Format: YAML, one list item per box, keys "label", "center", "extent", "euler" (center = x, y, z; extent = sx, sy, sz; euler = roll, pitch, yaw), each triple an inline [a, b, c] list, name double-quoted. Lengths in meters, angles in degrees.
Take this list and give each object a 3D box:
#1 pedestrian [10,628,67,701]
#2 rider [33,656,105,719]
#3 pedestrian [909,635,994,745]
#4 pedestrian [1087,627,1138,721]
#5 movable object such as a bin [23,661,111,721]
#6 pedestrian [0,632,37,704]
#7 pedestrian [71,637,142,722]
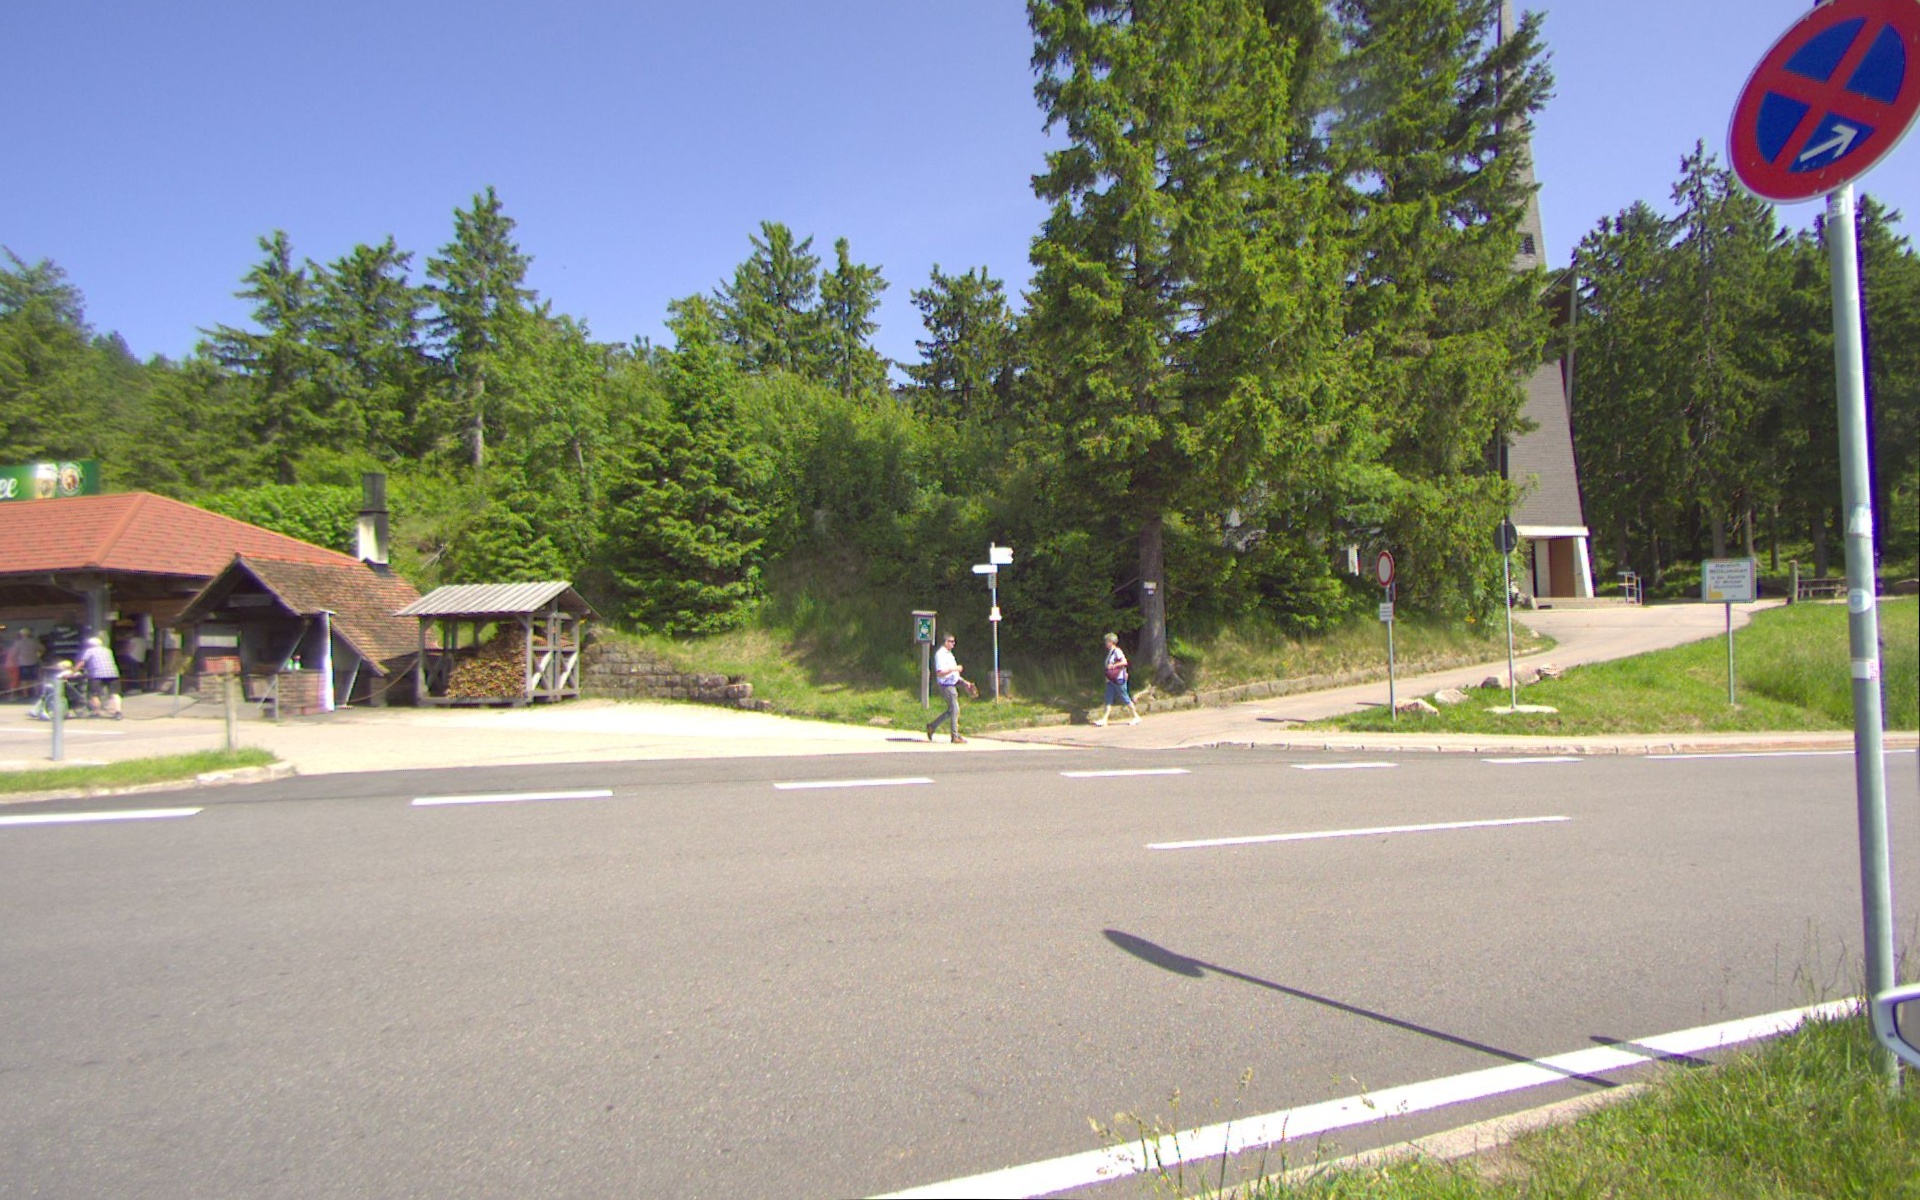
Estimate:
- label: "pedestrian"
  center: [-22.619, 1.567, 24.650]
  extent: [0.788, 1.759, 0.748]
  euler: [-1, -3, 27]
- label: "rider"
  center: [-18.716, 1.819, 21.105]
  extent: [0.892, 1.291, 0.838]
  euler: [-1, -3, 27]
- label: "pedestrian"
  center: [-0.130, 1.448, 16.474]
  extent: [1.139, 1.720, 0.979]
  euler: [-1, -3, 18]
- label: "pedestrian"
  center: [2.839, 1.374, 18.740]
  extent: [0.673, 1.703, 0.718]
  euler: [1, -3, -23]
- label: "movable object such as a bin"
  center: [-18.797, 1.901, 21.155]
  extent: [1.194, 1.204, 0.983]
  euler: [-1, -3, 27]
- label: "pedestrian"
  center: [-23.413, 1.679, 24.915]
  extent: [0.549, 1.759, 0.668]
  euler: [2, -3, -28]
- label: "pedestrian"
  center: [-17.758, 1.636, 20.912]
  extent: [0.788, 1.721, 0.838]
  euler: [-1, -3, 27]
